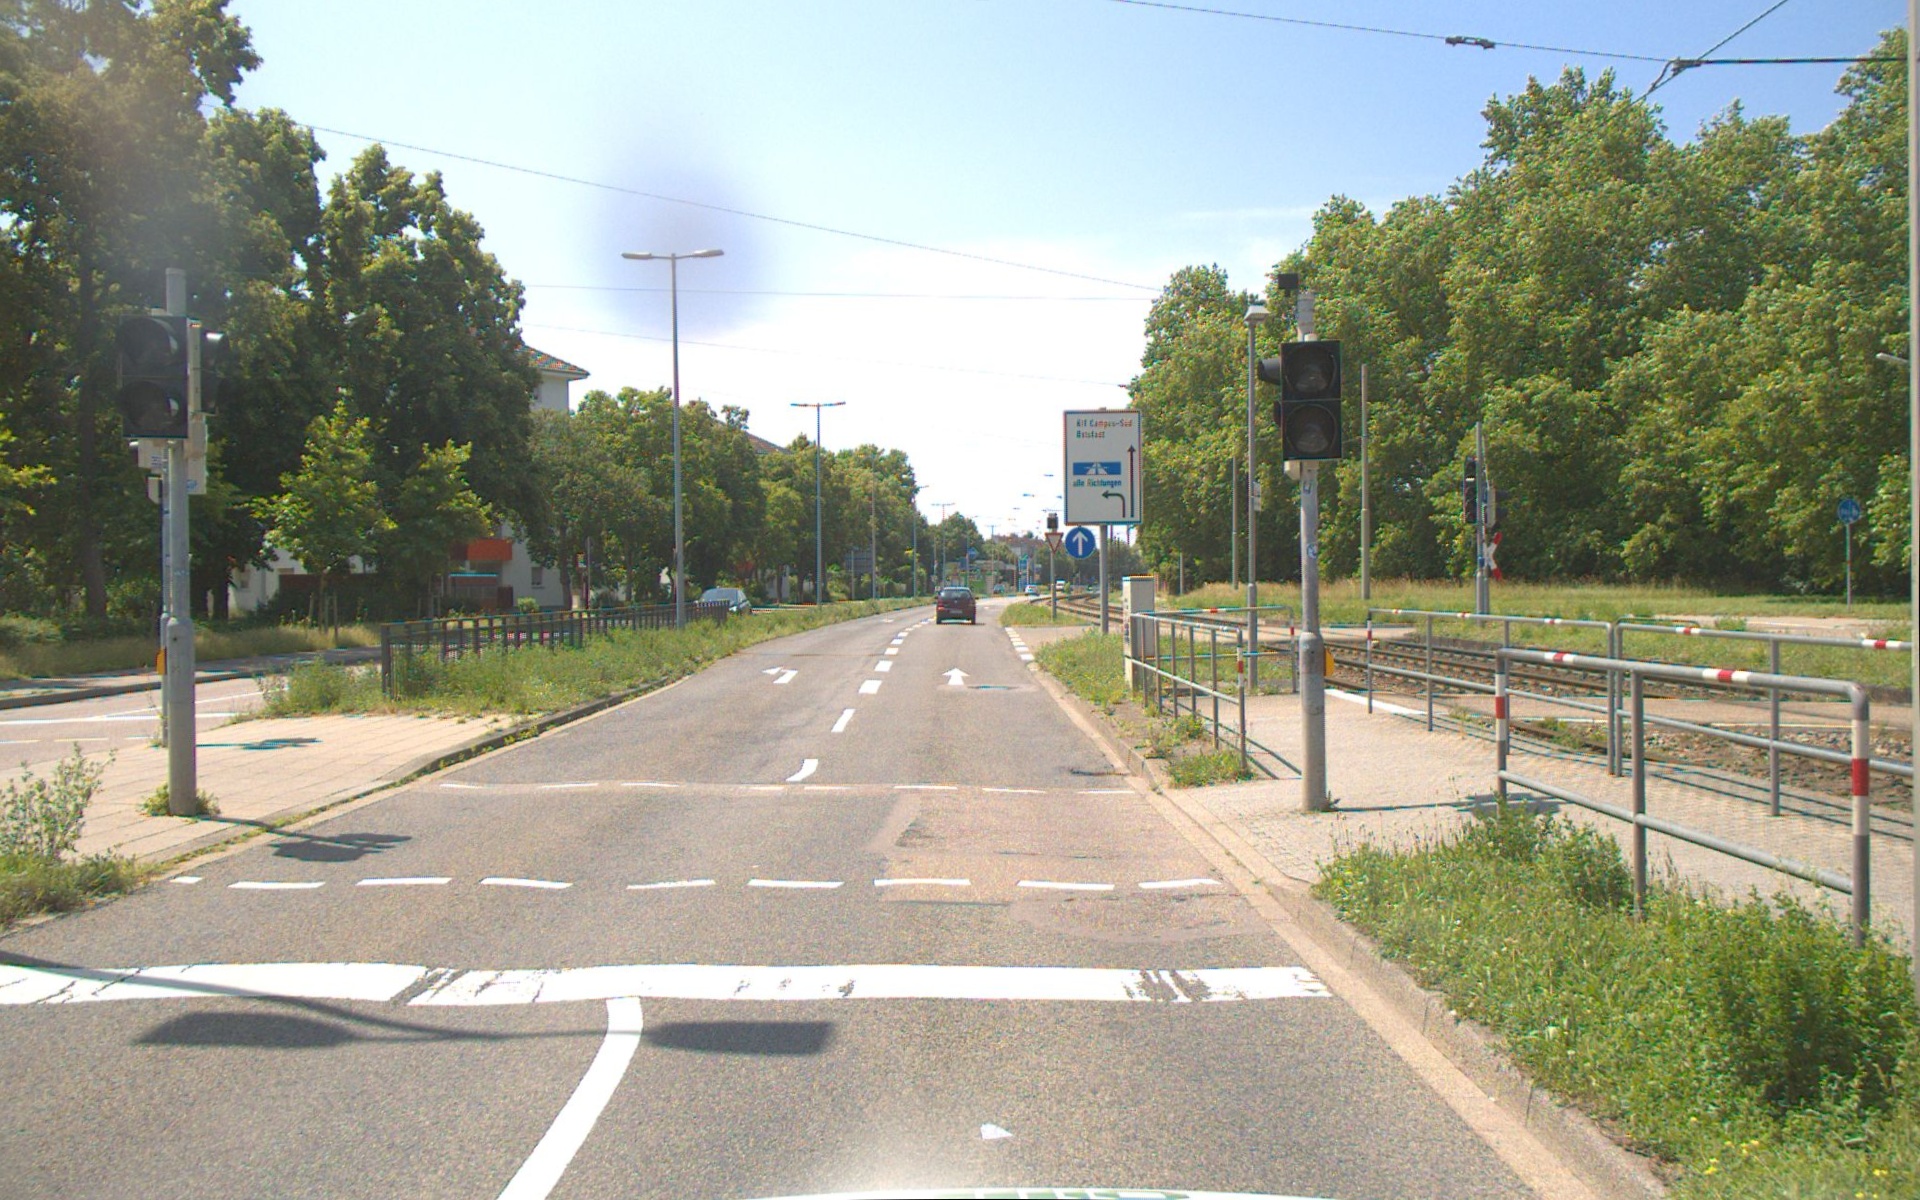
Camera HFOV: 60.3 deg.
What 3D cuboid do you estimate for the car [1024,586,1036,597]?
[{"bbox_3d":[9.885,-1.209,232.563,1.667,1.506,3.717,1,0,2],"label":"car"}]

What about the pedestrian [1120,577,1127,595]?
[{"bbox_3d":[16.501,-1.428,166.947,0.647,1.756,0.817,-1,0,6],"label":"pedestrian"}]

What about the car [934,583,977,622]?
[{"bbox_3d":[-0.148,0.090,67.235,1.668,1.503,3.716,-1,0,0],"label":"car"}]

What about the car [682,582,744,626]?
[{"bbox_3d":[-9.296,0.134,62.543,1.720,1.570,4.161,-1,1,0],"label":"car"}]
